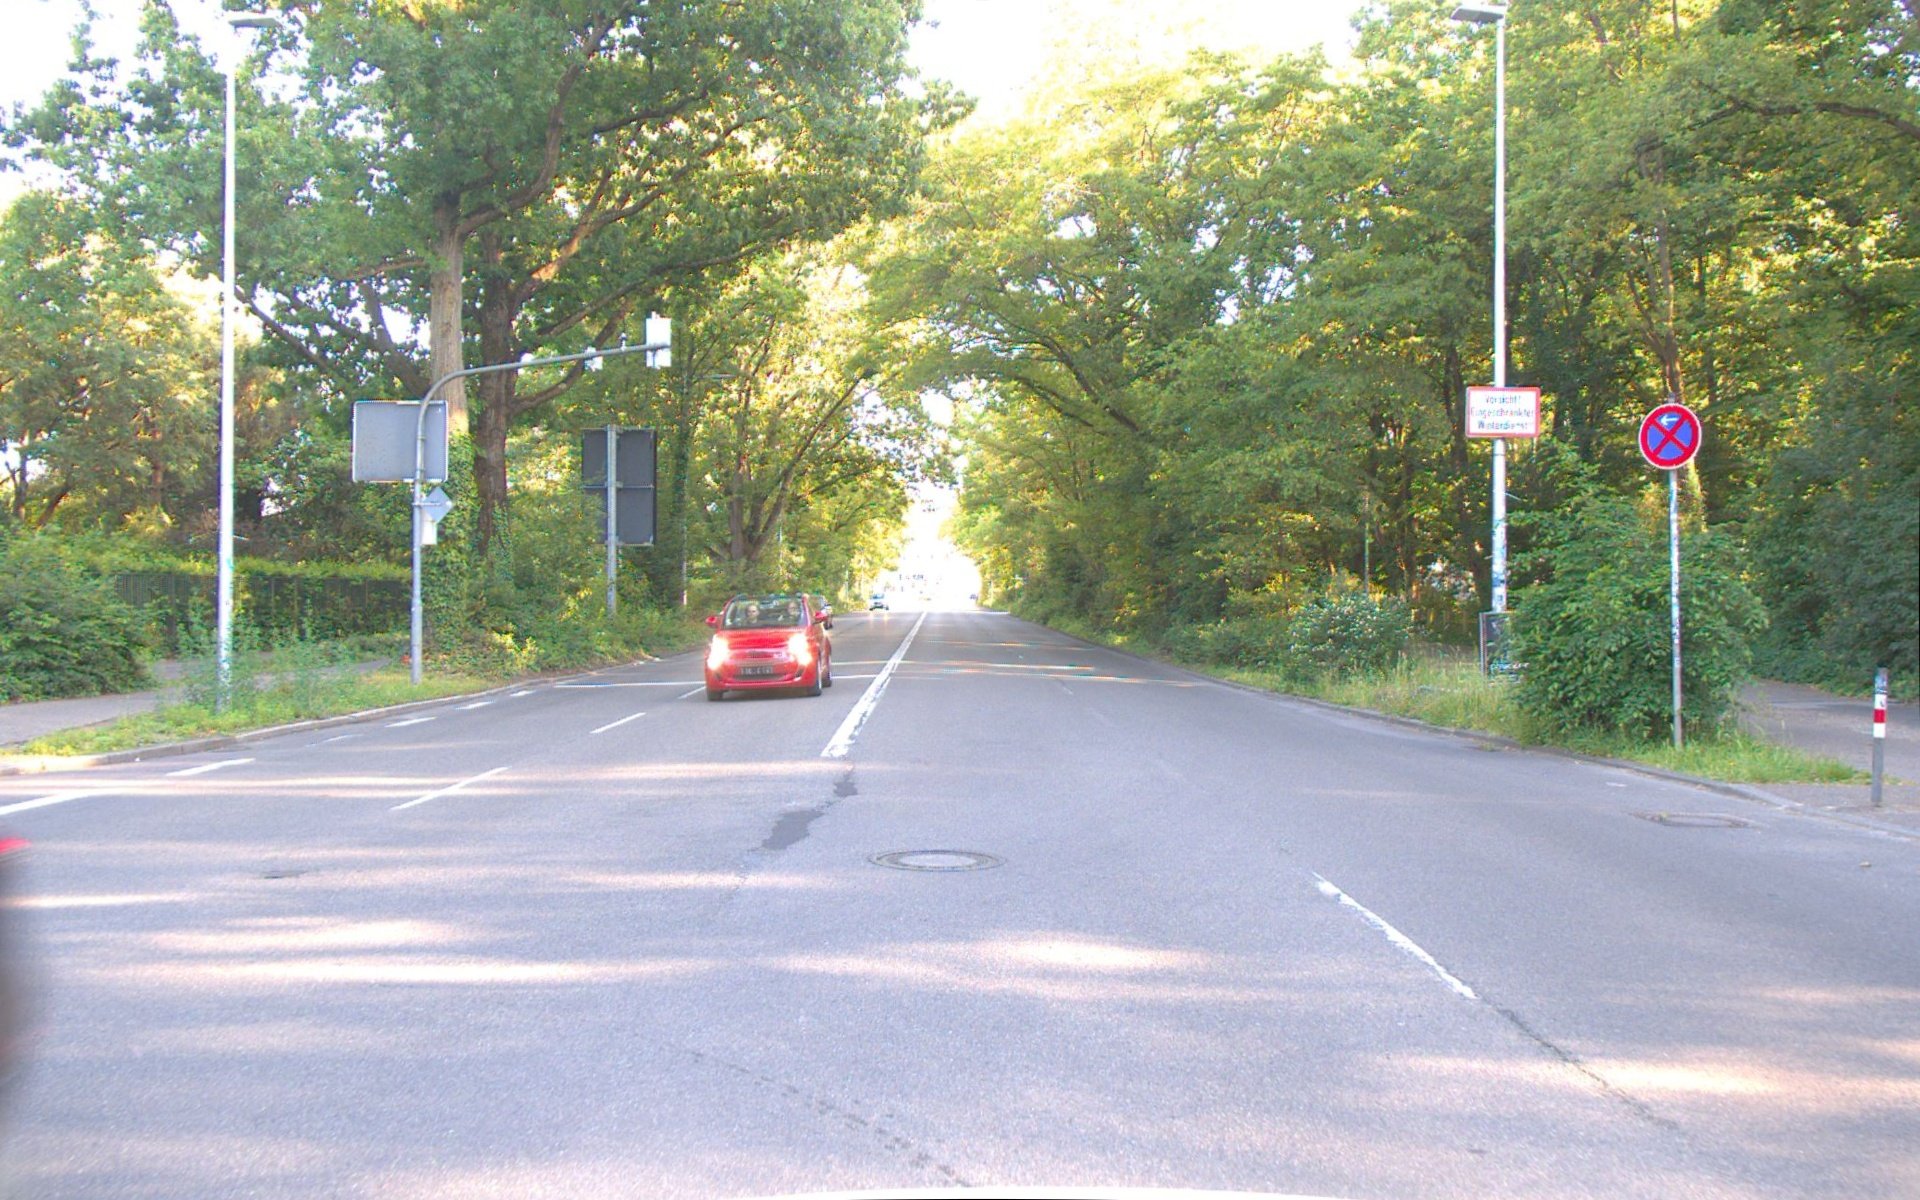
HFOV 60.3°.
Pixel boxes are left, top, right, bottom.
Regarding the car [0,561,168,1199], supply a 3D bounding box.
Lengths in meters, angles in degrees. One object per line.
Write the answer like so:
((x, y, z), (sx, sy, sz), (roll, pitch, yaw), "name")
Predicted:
((-2.923, 0.692, 1.807), (1.921, 1.532, 4.646), (-1, 0, -1), "car")

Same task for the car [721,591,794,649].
((-5.879, 0.560, 48.330), (1.643, 1.550, 3.901), (-2, 0, -1), "car")

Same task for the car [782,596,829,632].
((-6.705, 0.585, 71.984), (1.673, 1.478, 3.639), (-2, 0, -1), "car")

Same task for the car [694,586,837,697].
((-2.849, 0.589, 24.931), (1.715, 1.481, 3.639), (-2, 0, -1), "car")

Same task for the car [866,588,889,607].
((-7.136, -0.231, 143.737), (1.770, 1.607, 4.318), (-2, 0, -1), "car")
